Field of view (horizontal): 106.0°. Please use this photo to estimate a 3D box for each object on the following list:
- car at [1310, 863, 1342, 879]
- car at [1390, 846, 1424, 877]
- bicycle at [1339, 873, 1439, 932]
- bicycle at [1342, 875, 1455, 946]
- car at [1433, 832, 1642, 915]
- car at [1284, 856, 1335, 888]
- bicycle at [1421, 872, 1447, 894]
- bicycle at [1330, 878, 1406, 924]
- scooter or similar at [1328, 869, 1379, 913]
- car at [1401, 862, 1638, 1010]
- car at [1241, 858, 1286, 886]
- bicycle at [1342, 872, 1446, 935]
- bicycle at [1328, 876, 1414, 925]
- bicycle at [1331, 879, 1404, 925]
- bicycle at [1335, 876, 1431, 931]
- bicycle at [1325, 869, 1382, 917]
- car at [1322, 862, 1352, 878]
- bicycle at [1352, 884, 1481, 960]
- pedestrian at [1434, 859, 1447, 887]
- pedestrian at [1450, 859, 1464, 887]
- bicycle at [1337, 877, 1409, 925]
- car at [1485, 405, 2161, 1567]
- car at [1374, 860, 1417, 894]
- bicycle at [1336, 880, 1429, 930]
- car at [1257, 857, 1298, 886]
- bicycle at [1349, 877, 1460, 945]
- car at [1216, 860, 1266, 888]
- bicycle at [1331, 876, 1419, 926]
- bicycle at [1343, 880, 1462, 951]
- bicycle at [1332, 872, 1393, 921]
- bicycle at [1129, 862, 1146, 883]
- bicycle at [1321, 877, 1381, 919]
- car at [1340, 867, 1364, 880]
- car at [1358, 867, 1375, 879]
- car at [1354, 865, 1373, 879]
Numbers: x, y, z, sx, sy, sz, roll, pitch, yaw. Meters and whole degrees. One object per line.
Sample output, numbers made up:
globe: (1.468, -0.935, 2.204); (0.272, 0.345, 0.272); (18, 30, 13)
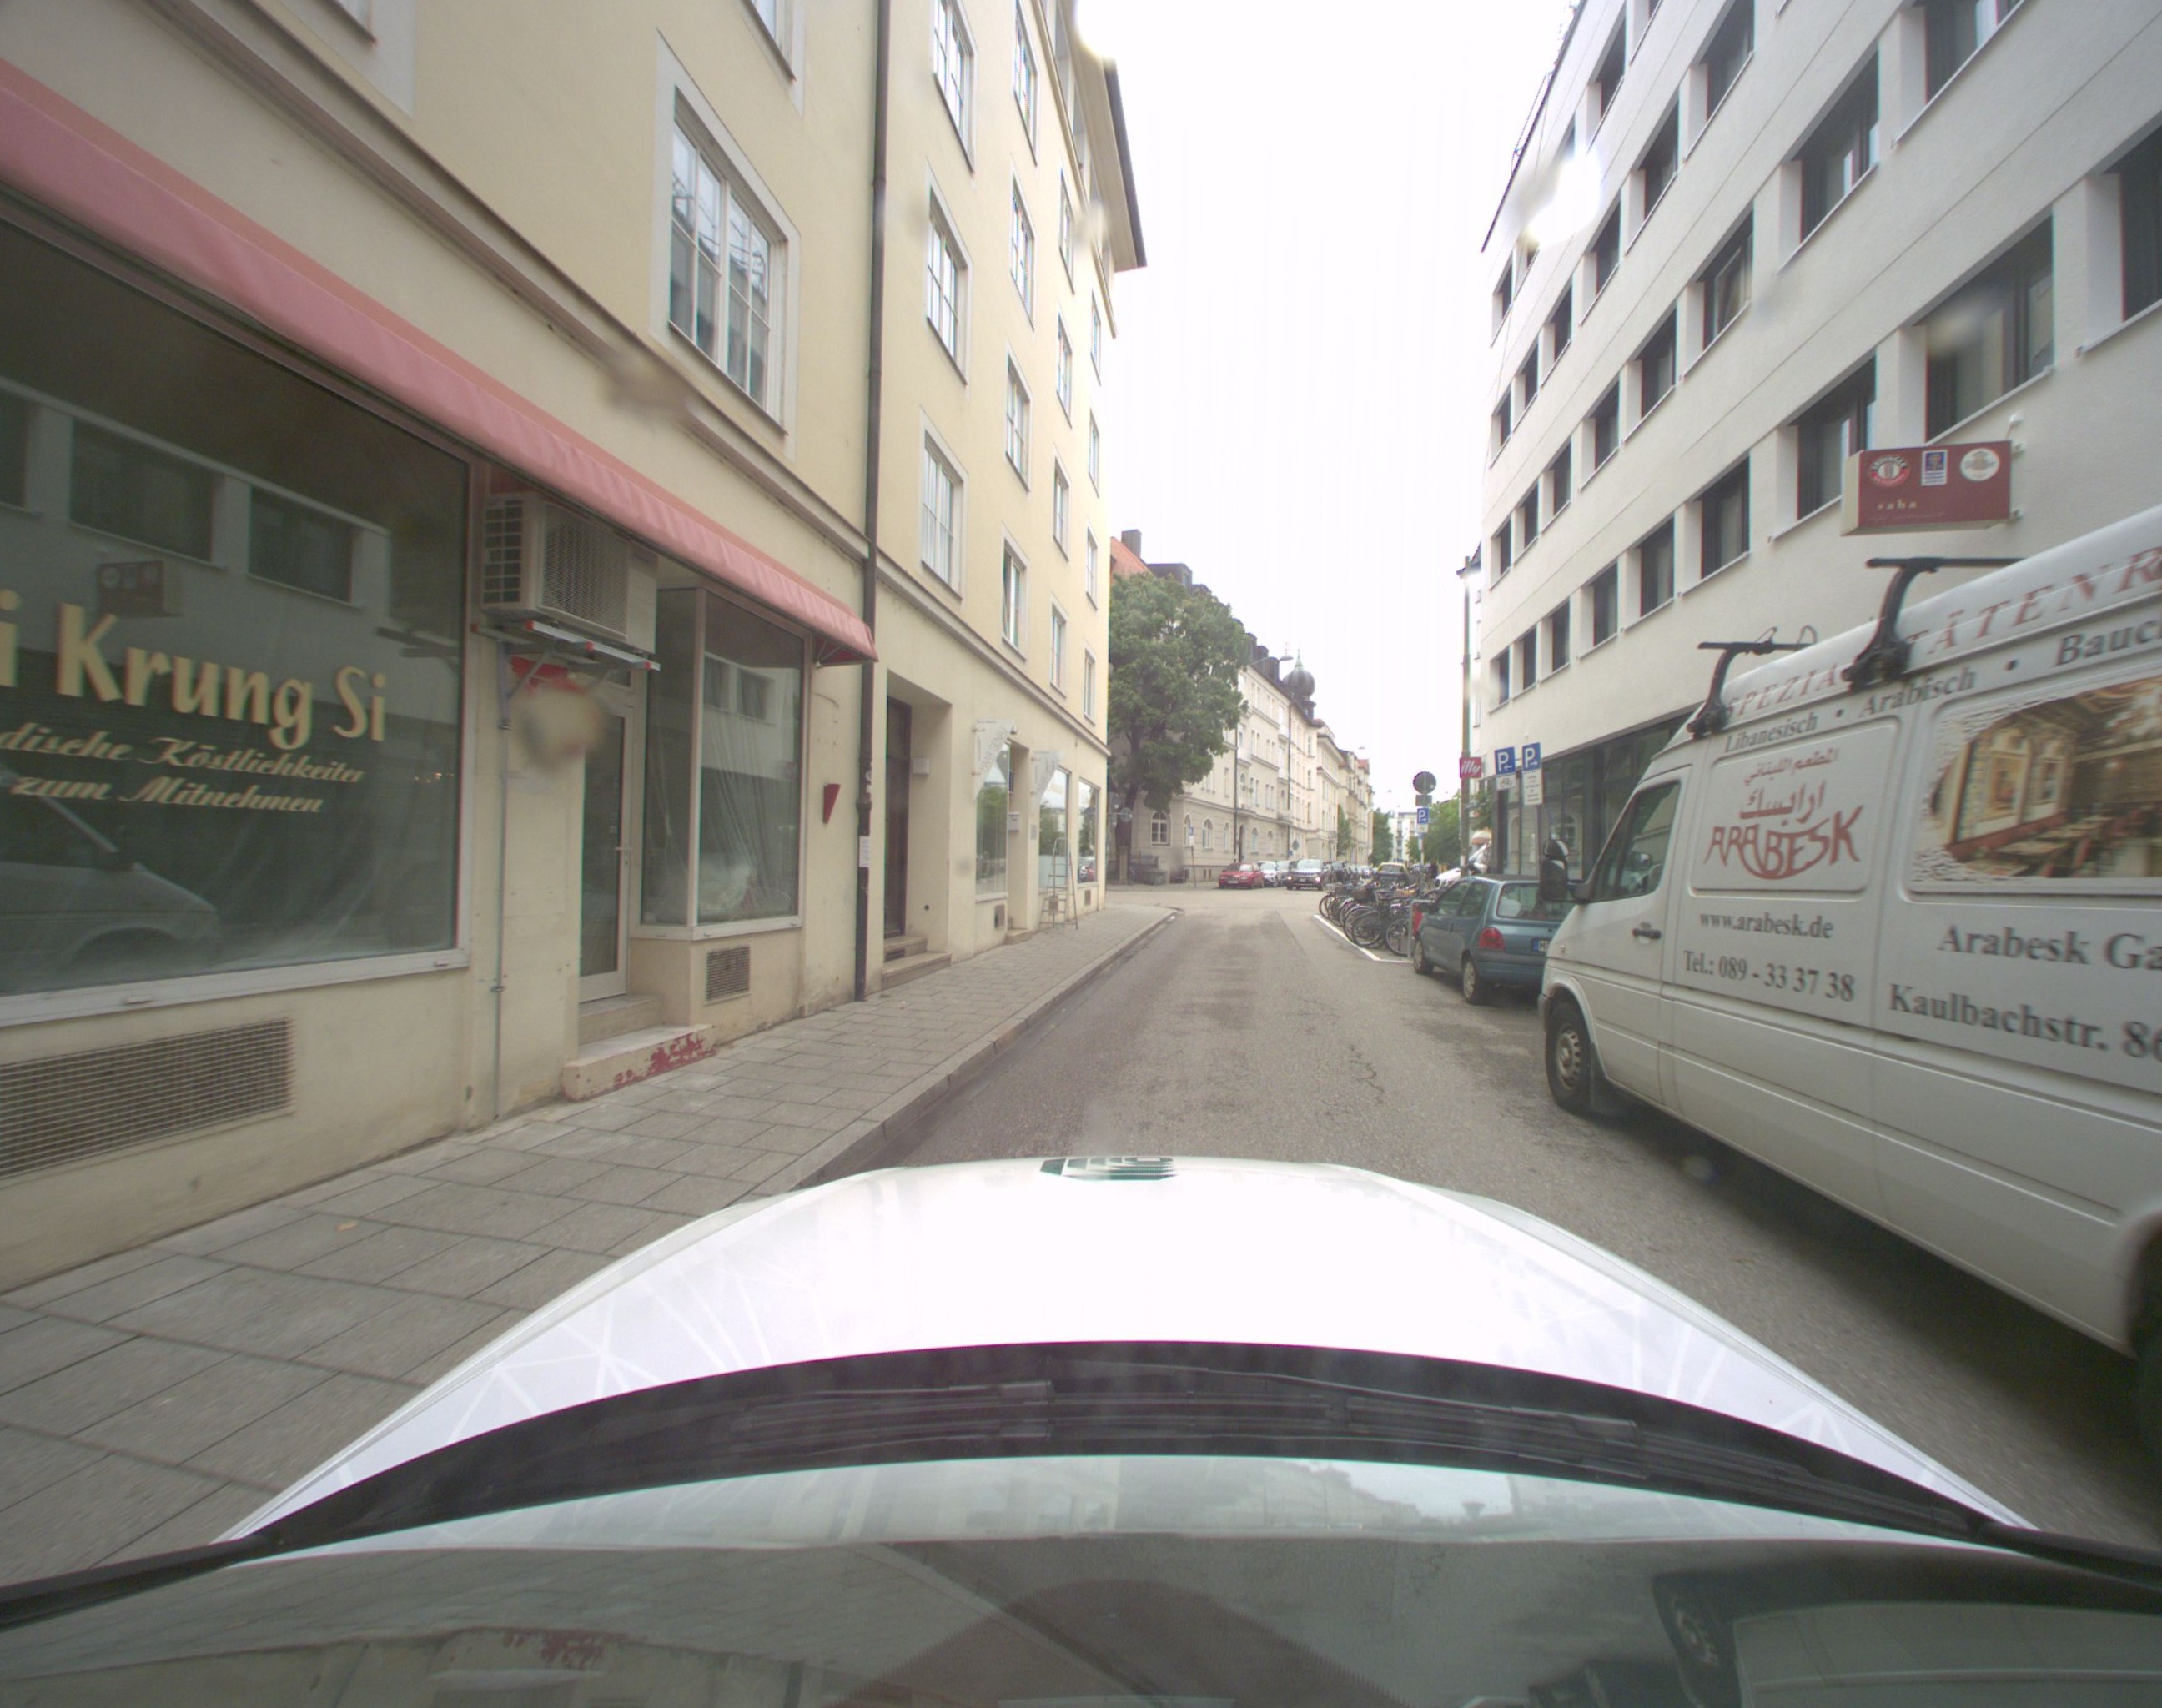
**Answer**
car: (20.400, 1.403, 67.680); (1.889, 1.222, 4.023); (1, 0, 26)
car: (21.600, 0.496, 53.876); (1.804, 1.871, 4.313); (3, 0, 25)
bicycle: (6.369, 0.988, 16.904); (1.882, 1.170, 0.567); (0, -1, 8)
bicycle: (5.796, 1.023, 14.928); (1.862, 1.204, 0.490); (1, 1, 9)
car: (15.258, 0.577, 27.621); (5.848, 2.591, 2.069); (1, 1, 16)
car: (12.020, 0.912, 42.617); (1.940, 1.607, 4.333); (0, 0, 24)
bicycle: (17.358, 1.426, 40.110); (0.537, 0.999, 1.756); (-2, -1, 2)
bicycle: (7.182, 1.174, 20.444); (1.730, 1.080, 0.453); (1, 1, 8)
scooter or similar: (7.832, 1.061, 23.427); (1.343, 1.210, 0.419); (1, -1, 13)
car: (5.204, 0.856, 10.173); (1.570, 1.464, 3.562); (1, 0, 10)
car: (10.686, 1.030, 47.502); (1.977, 1.473, 4.239); (1, -1, 20)
bicycle: (6.233, 0.978, 16.288); (1.862, 1.204, 0.581); (0, -1, 9)
bicycle: (6.831, 1.097, 19.248); (1.863, 1.080, 0.409); (1, 1, 8)
bicycle: (7.044, 1.167, 20.048); (1.665, 1.080, 0.337); (1, 1, 8)
bicycle: (6.441, 1.054, 17.444); (1.863, 1.095, 0.441); (1, 1, 8)
bicycle: (7.572, 1.068, 22.663); (1.447, 1.285, 0.447); (1, -1, 12)
car: (22.544, 1.432, 71.592); (1.889, 1.329, 4.023); (1, 0, 26)
bicycle: (5.490, 1.100, 13.407); (1.862, 1.079, 0.490); (3, 1, 9)
pedestrian: (24.271, 1.259, 54.953); (0.771, 1.851, 1.029); (1, -1, 26)
pedestrian: (24.990, 1.242, 54.132); (0.771, 1.851, 1.029); (1, -1, 26)
bicycle: (7.035, 1.123, 19.657); (1.603, 1.080, 0.379); (1, 1, 8)
car: (3.602, 0.303, 3.300); (1.908, 2.506, 6.014); (2, 0, 11)
car: (17.142, 1.208, 44.264); (1.804, 1.636, 4.313); (3, 0, 25)
bicycle: (6.676, 1.132, 18.115); (1.863, 1.052, 0.565); (1, -2, 8)
car: (12.579, 1.114, 51.971); (1.926, 1.702, 4.021); (1, 0, 21)
bicycle: (6.151, 1.071, 15.555); (1.862, 1.157, 0.566); (2, 1, 9)
car: (8.505, 1.037, 42.957); (1.715, 1.378, 4.249); (1, -1, 23)
bicycle: (6.779, 1.083, 18.809); (1.863, 1.080, 0.403); (1, 1, 8)
bicycle: (5.664, 1.072, 14.421); (1.862, 1.108, 0.490); (2, 1, 9)
bicycle: (7.329, 1.103, 21.218); (1.444, 1.207, 0.396); (1, -1, 4)
bicycle: (2.979, 0.962, 42.731); (0.489, 1.052, 1.835); (1, 1, 17)
bicycle: (7.186, 1.169, 21.706); (1.444, 1.069, 0.464); (1, 0, 4)
car: (27.424, 1.988, 82.419); (1.889, 1.222, 4.022); (1, 0, 24)
car: (34.552, 2.266, 98.548); (1.719, 1.420, 4.021); (1, 0, 22)
car: (32.246, 2.065, 93.019); (1.804, 1.574, 4.021); (1, -1, 22)
